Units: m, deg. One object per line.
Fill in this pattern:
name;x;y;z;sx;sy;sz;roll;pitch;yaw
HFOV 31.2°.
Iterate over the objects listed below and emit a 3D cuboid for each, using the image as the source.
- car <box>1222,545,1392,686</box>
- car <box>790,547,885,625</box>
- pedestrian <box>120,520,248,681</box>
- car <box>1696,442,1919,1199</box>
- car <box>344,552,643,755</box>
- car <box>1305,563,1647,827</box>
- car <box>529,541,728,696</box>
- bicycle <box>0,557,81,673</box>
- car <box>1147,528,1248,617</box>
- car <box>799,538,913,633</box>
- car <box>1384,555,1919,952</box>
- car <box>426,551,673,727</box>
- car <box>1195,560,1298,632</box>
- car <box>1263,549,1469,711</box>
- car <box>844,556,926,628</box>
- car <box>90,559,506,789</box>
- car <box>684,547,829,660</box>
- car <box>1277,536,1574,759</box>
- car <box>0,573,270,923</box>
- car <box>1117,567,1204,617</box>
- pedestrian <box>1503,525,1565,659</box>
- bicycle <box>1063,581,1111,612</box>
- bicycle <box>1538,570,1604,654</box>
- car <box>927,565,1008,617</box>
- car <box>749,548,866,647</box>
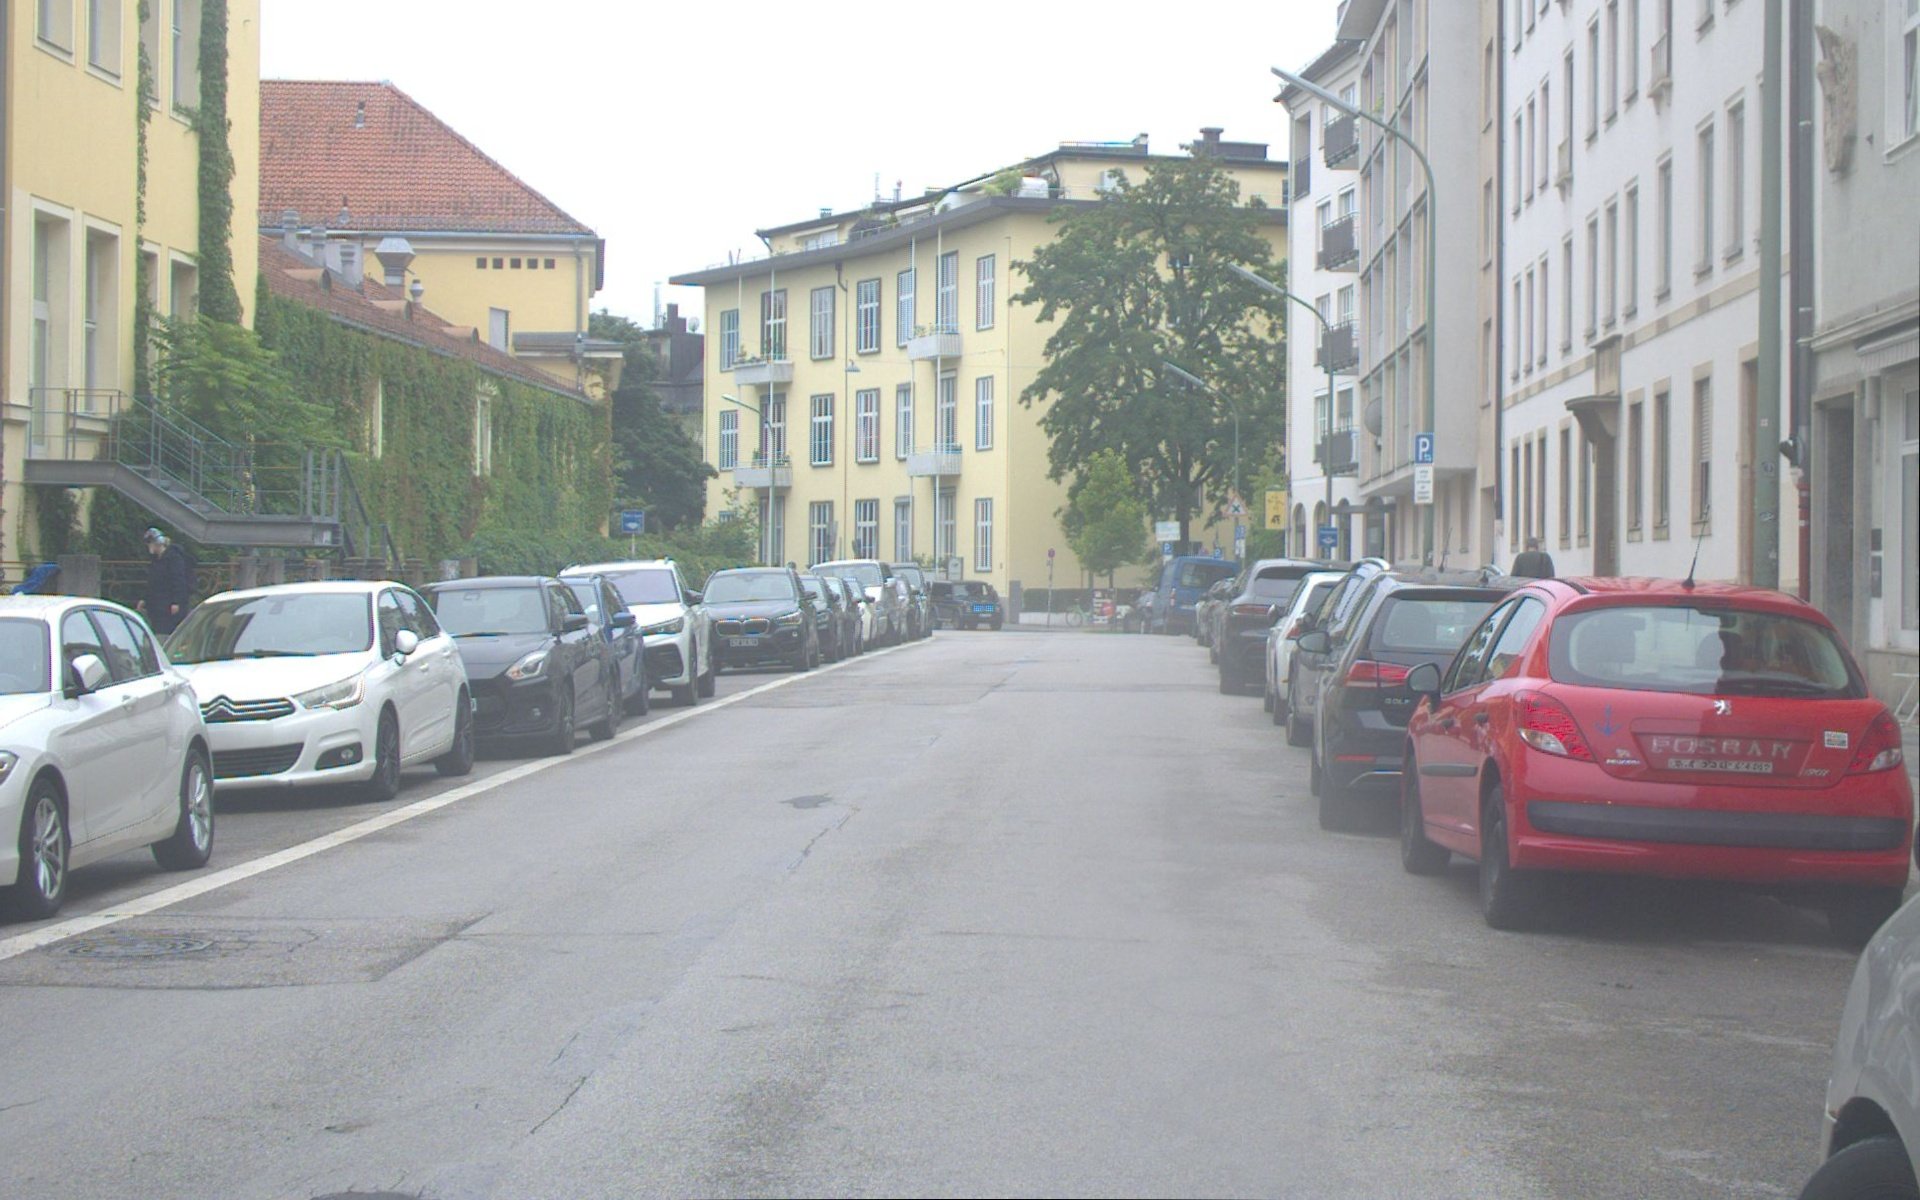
car;4.054;0.155;40.742;1.840;1.517;4.708;2;0;4
car;-2.395;-0.276;68.021;1.591;1.436;4.019;-2;0;1
pedestrian;-8.401;-0.004;37.237;0.902;1.713;1.058;-1;1;18
car;2.457;0.610;4.894;1.681;1.667;3.805;2;1;-5
car;-3.869;0.408;29.162;1.699;1.492;4.148;-4;0;3
car;2.995;0.492;20.687;1.688;1.397;4.363;1;0;4
car;-3.716;0.176;39.242;1.745;1.628;4.856;-1;0;0
bicycle;-10.585;0.170;37.938;1.626;1.264;0.527;0;1;4
car;6.800;-0.756;98.983;2.079;2.226;5.245;4;-2;-3
car;-2.183;-0.310;73.472;1.887;1.883;4.773;-3;0;4
car;3.059;0.581;15.638;1.687;1.495;4.147;2;1;0
car;-4.013;0.348;34.286;1.703;1.497;4.495;-5;0;1
car;5.962;-0.098;71.996;1.745;1.383;4.954;2;0;1
car;3.890;0.253;33.517;1.673;1.424;4.530;2;0;3
car;-1.793;-0.209;83.771;1.697;1.637;4.490;-3;0;2
car;-4.477;0.448;23.955;1.785;1.427;4.652;1;0;3
car;-3.075;0.033;52.852;1.789;1.581;4.818;-3;0;1
car;3.605;0.312;27.328;1.706;1.587;4.362;2;1;0
car;-4.730;0.634;16.380;1.794;1.424;4.665;-3;0;1
car;6.115;-0.255;105.176;1.676;1.384;4.306;4;0;-9
pedestrian;7.648;-0.103;45.841;0.723;1.757;0.904;1;-2;4
bicycle;5.050;-0.130;136.634;1.926;1.197;0.594;1;0;40
bicycle;9.111;0.171;51.304;0.512;1.218;1.989;0;1;-4
car;0.274;-0.361;135.939;1.762;1.868;4.380;4;0;-19
car;-2.674;-0.058;61.065;1.724;1.624;4.466;-2;0;1
